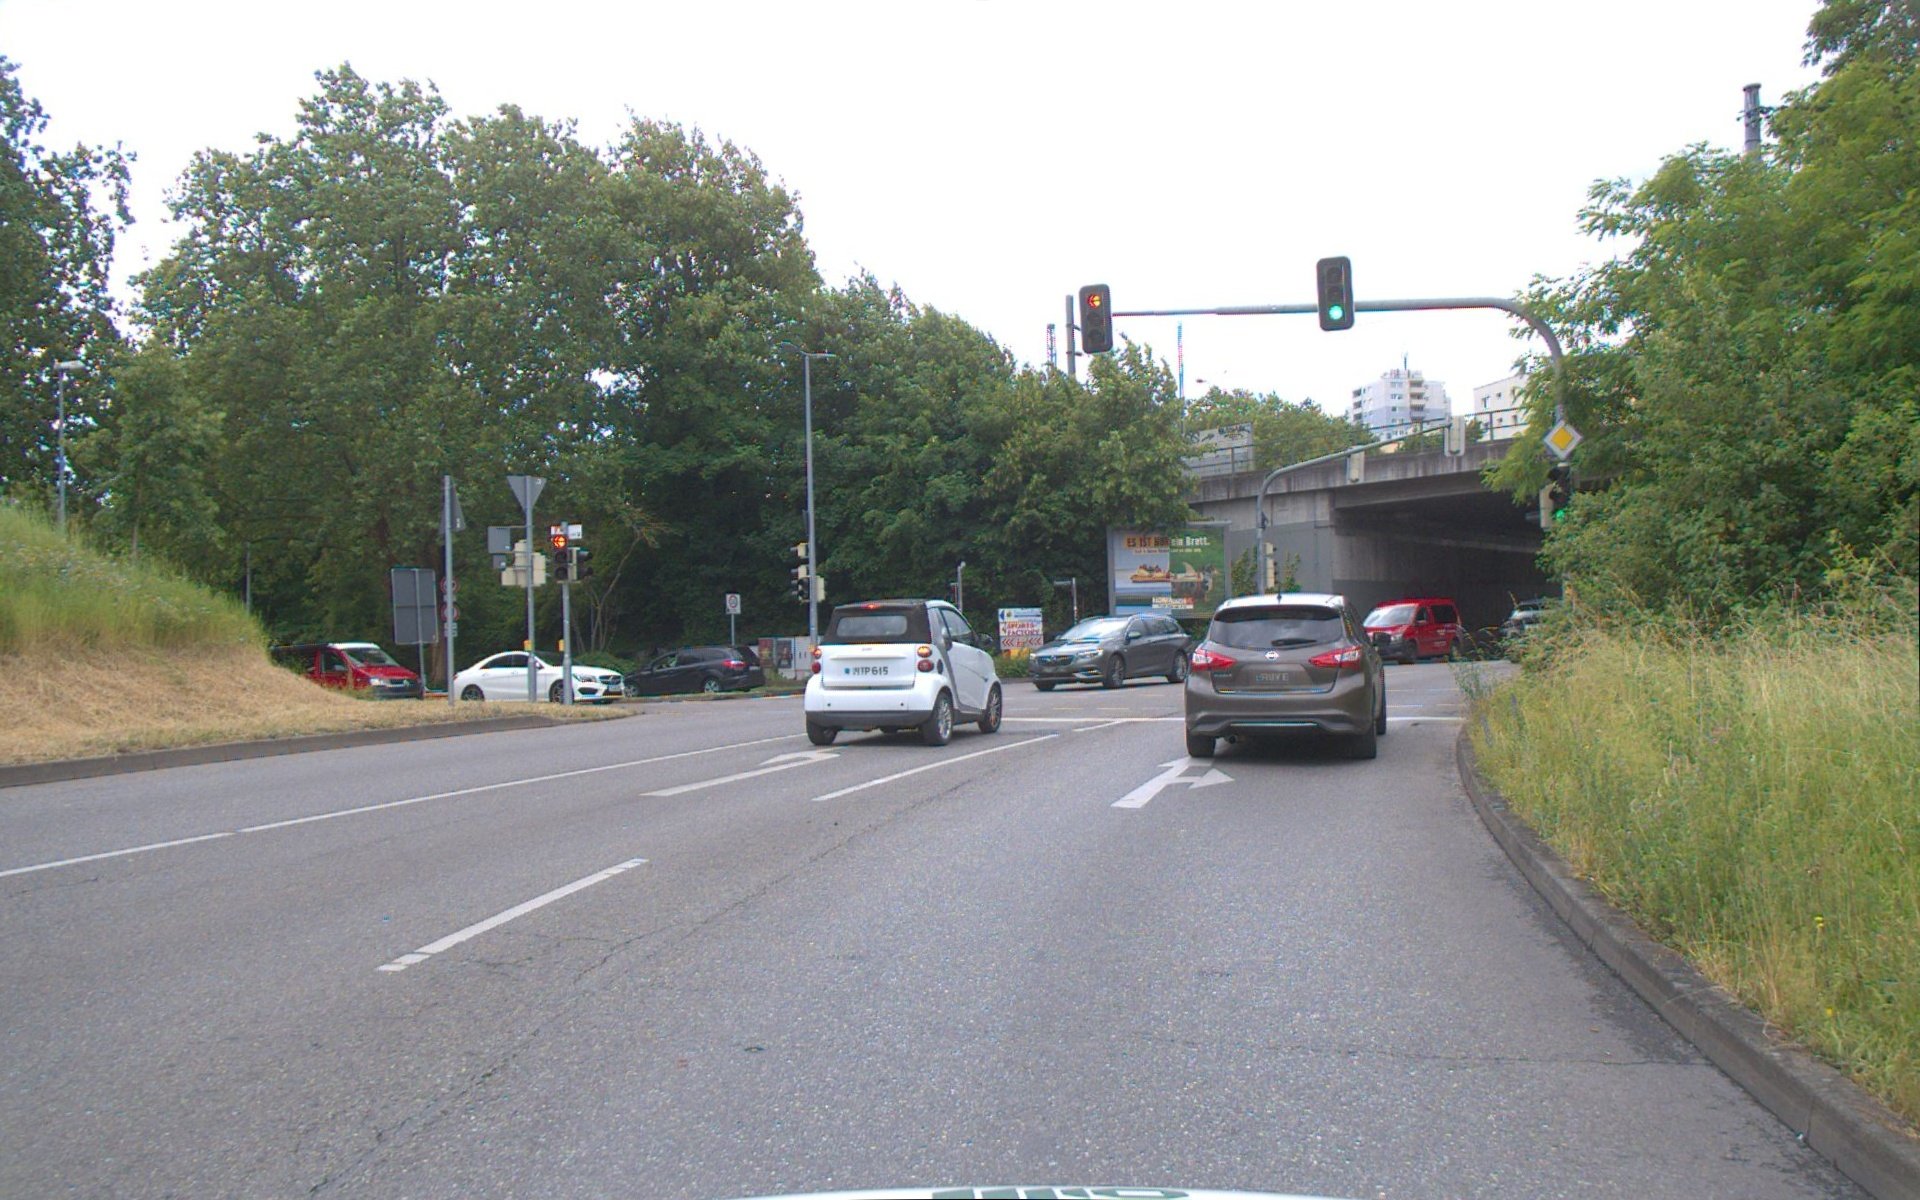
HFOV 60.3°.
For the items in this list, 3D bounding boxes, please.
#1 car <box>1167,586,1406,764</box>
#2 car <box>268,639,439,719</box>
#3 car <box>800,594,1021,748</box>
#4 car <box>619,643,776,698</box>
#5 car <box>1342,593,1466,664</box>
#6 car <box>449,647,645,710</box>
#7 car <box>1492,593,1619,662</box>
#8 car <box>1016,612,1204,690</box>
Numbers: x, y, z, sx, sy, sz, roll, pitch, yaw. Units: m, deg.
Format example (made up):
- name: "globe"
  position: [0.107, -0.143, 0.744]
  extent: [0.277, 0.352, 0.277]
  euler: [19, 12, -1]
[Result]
- name: "car"
  position: [3.398, 0.668, 16.637]
  extent: [1.806, 1.519, 4.002]
  euler: [-2, 0, 19]
- name: "car"
  position: [-15.705, 2.035, 42.846]
  extent: [3.945, 1.845, 1.854]
  euler: [-4, -2, 24]
- name: "car"
  position: [-0.484, 0.736, 18.798]
  extent: [1.542, 1.585, 3.017]
  euler: [0, 0, 19]
- name: "car"
  position: [-7.353, 1.982, 46.482]
  extent: [3.940, 1.477, 1.856]
  euler: [-1, -3, 16]
- name: "car"
  position: [12.556, 0.775, 46.568]
  extent: [1.660, 1.857, 4.706]
  euler: [-3, -1, 37]
- name: "car"
  position: [-10.082, 1.935, 40.359]
  extent: [4.316, 1.362, 1.999]
  euler: [-3, -4, 23]
- name: "car"
  position: [14.002, 0.645, 38.759]
  extent: [1.867, 1.492, 3.987]
  euler: [2, 0, 34]
- name: "car"
  position: [3.152, 1.016, 34.047]
  extent: [1.737, 1.445, 4.401]
  euler: [-2, -1, 38]
